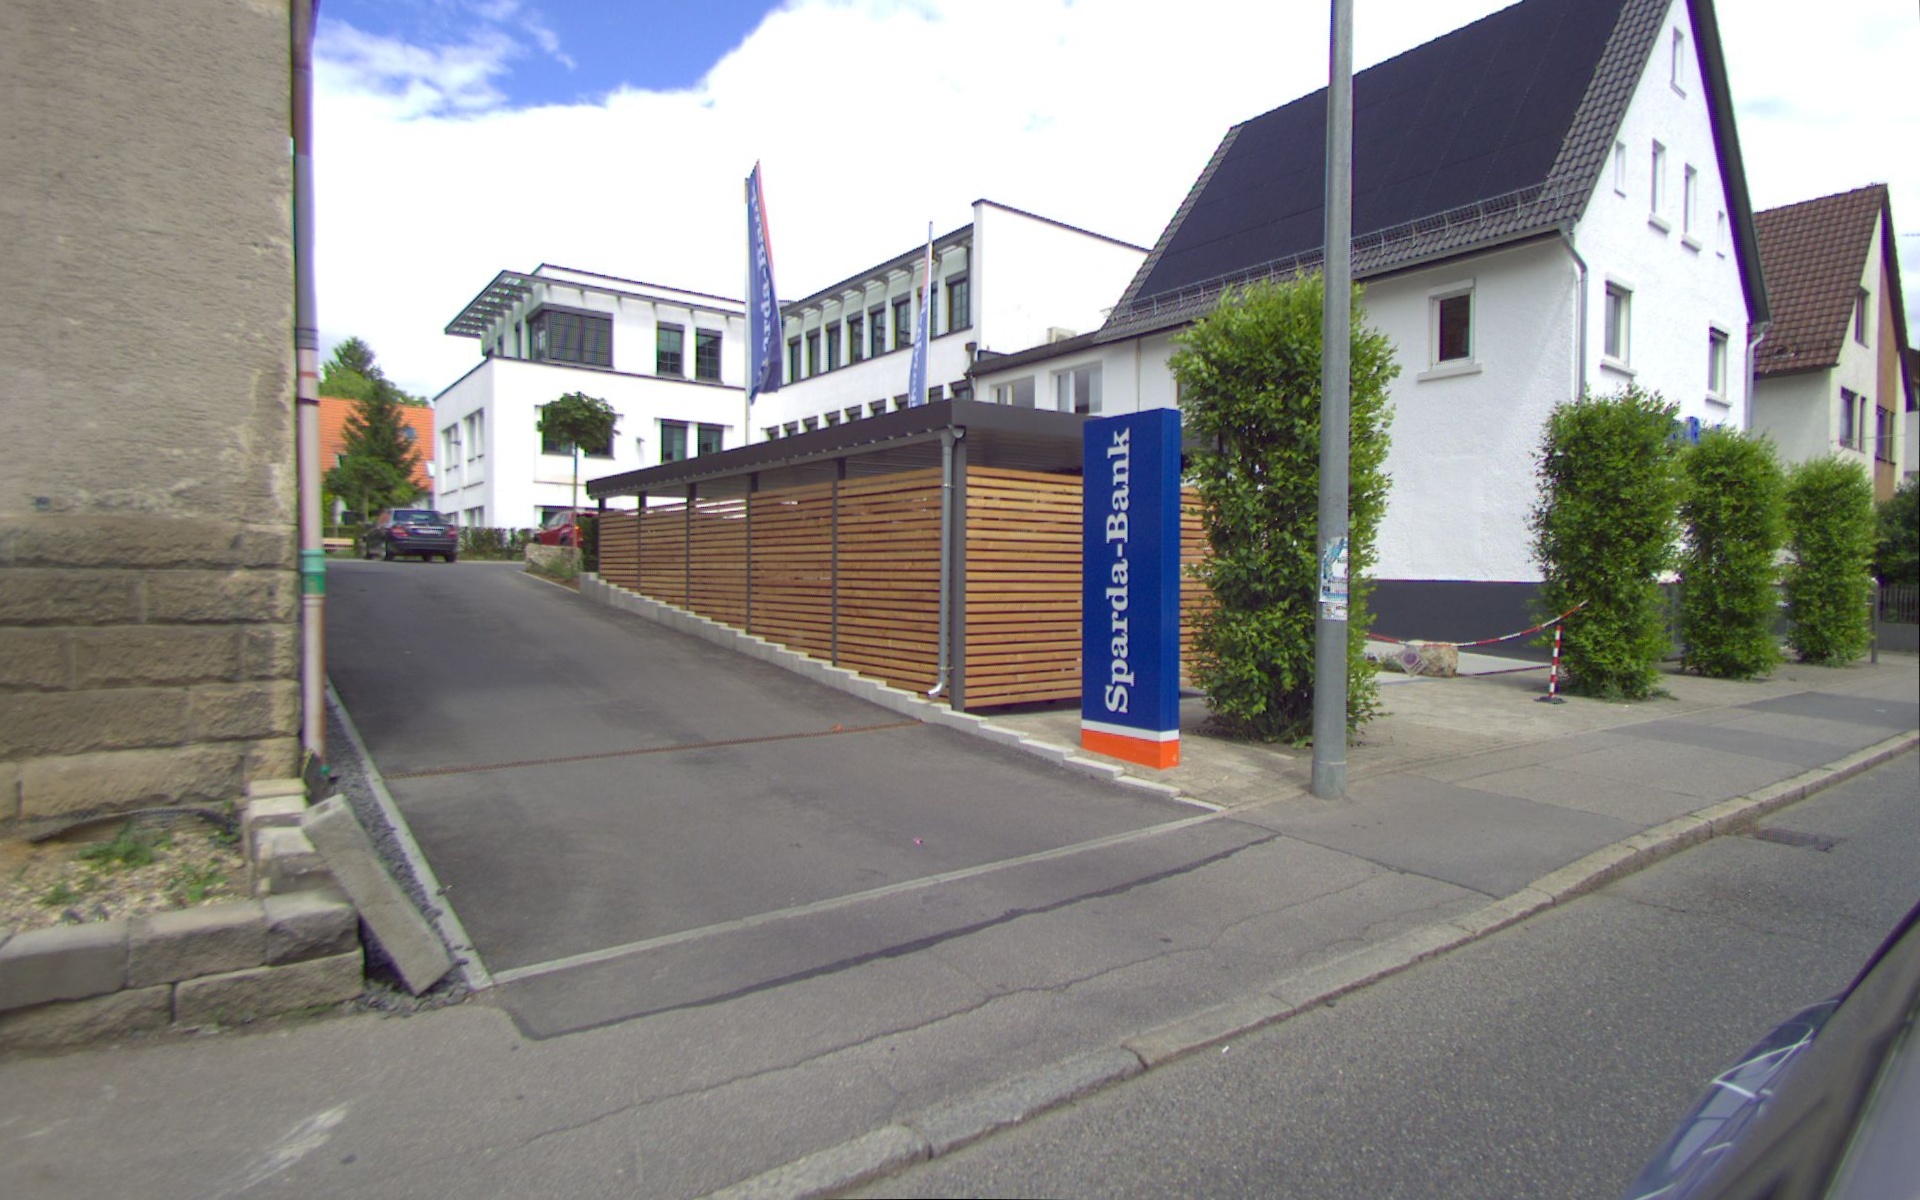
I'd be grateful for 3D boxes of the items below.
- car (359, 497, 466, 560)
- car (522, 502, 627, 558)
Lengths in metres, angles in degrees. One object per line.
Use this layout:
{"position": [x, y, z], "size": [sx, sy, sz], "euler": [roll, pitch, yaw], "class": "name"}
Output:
{"position": [-14.958, -1.880, 27.542], "size": [1.821, 1.492, 3.995], "euler": [-1, 1, -40], "class": "car"}
{"position": [-11.808, -2.082, 30.865], "size": [1.821, 1.492, 3.995], "euler": [-1, 1, -40], "class": "car"}
